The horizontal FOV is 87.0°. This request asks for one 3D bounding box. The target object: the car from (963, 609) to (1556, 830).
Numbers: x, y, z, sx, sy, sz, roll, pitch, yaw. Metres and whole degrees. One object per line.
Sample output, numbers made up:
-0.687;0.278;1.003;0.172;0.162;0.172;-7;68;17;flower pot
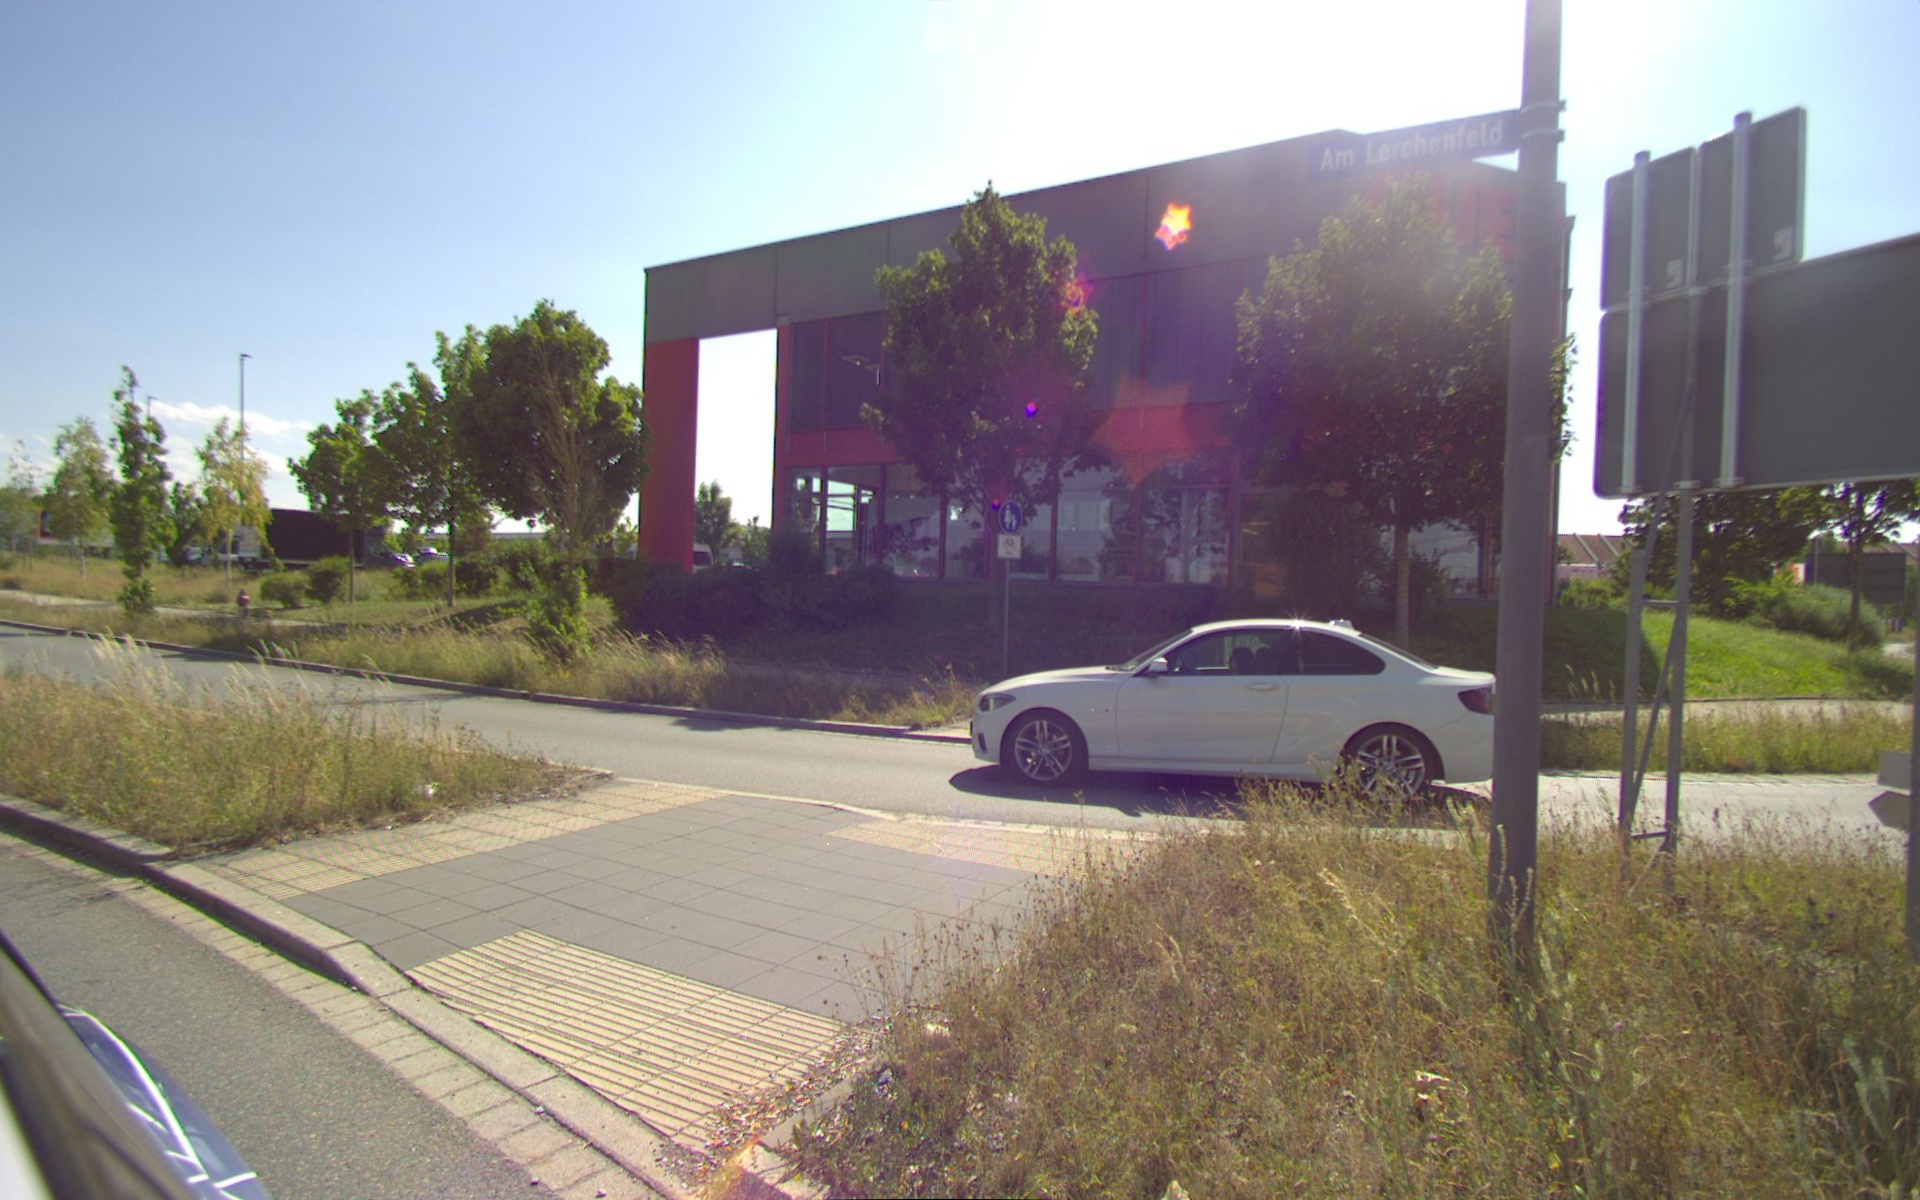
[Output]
2.357;0.867;8.655;4.341;1.426;1.789;2;0;15;car
